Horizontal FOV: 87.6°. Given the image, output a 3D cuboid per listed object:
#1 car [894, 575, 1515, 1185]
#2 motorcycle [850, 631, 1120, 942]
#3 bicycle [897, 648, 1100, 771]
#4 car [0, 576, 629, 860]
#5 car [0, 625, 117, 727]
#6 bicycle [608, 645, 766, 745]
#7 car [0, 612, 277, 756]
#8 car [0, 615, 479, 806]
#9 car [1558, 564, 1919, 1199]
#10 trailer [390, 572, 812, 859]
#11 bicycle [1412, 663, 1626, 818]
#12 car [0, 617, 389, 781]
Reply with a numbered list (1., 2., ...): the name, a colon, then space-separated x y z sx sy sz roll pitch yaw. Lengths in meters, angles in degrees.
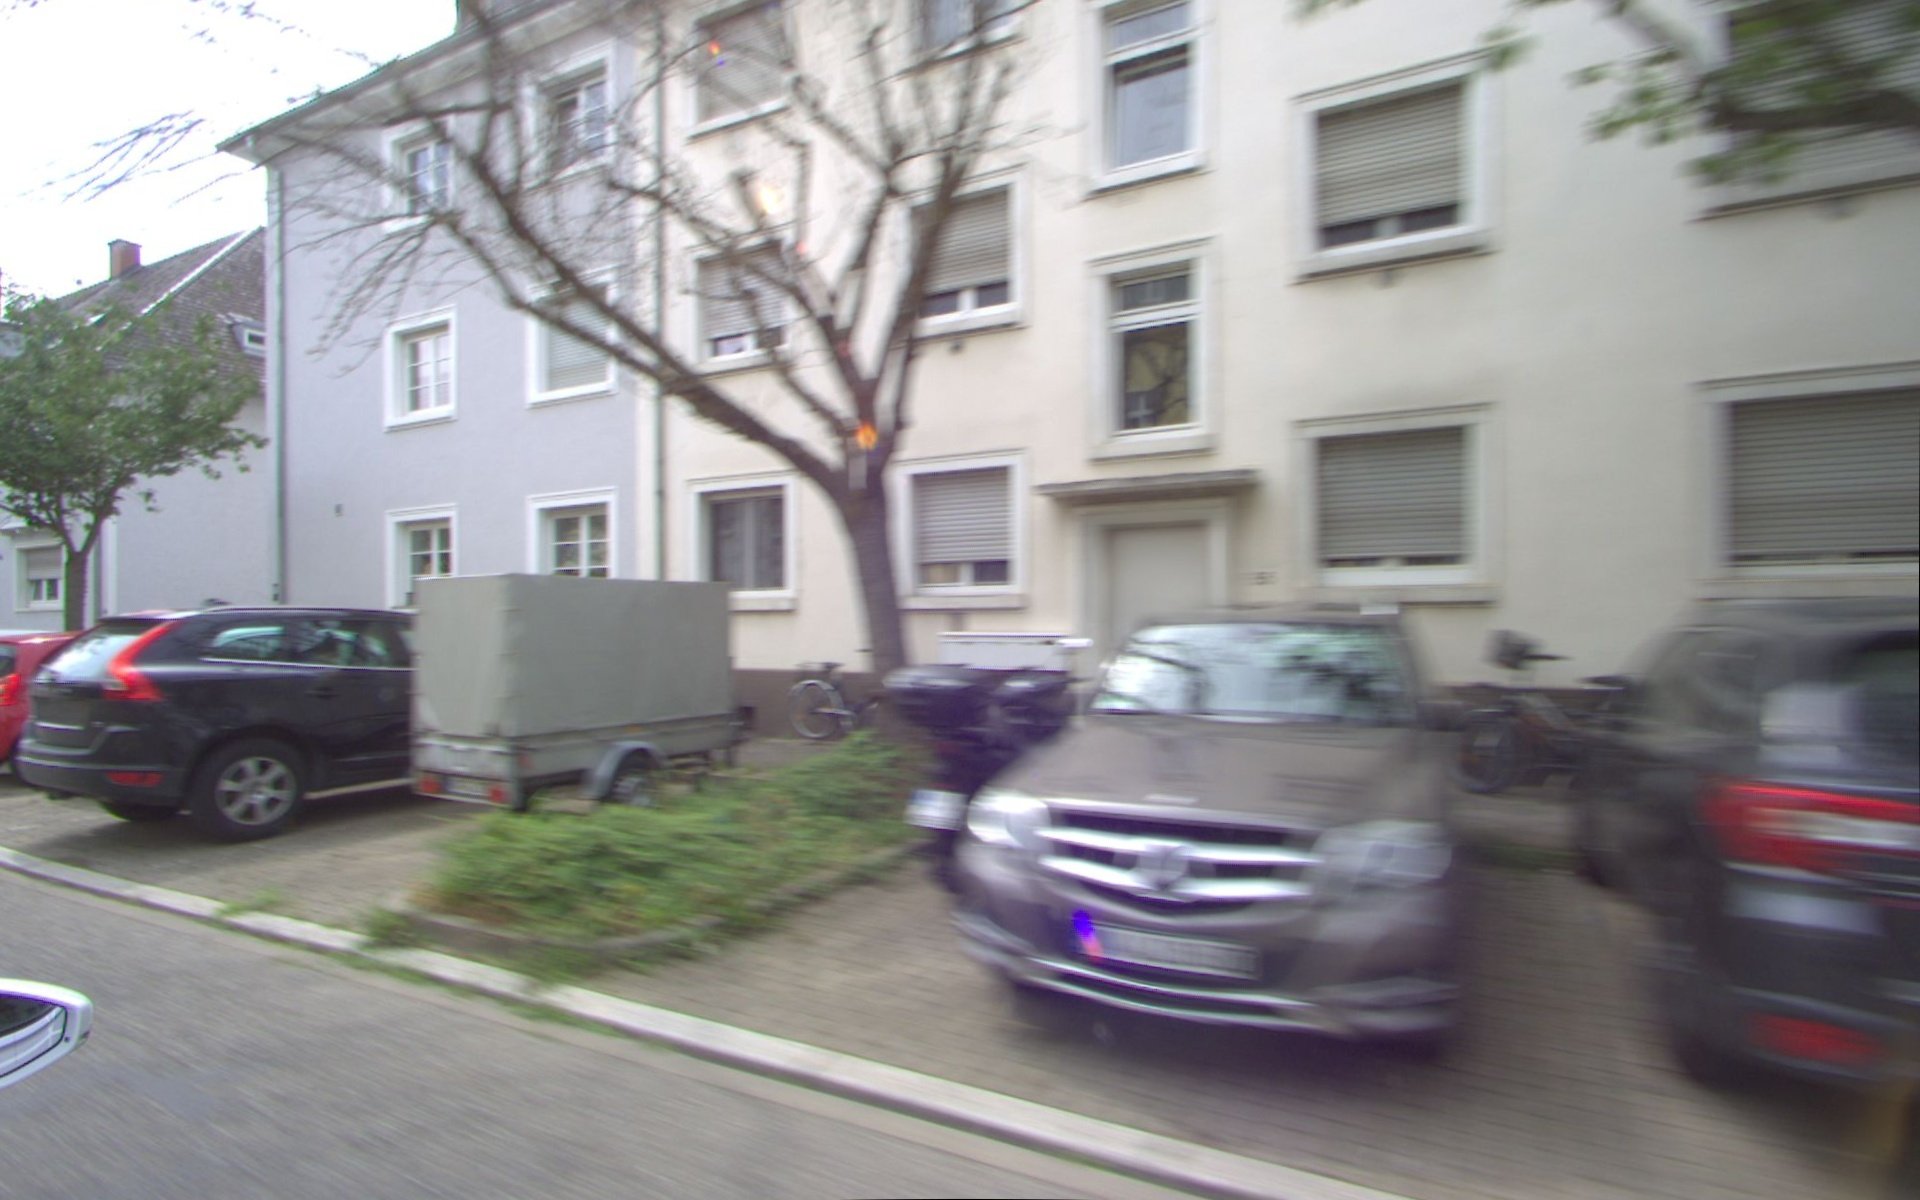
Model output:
1. car: 1.551 0.735 4.956 1.873 1.619 4.212 -1 0 26
2. motorcycle: 0.258 0.901 5.813 0.703 1.428 2.225 0 -1 26
3. bicycle: 0.375 1.070 10.237 1.976 1.112 0.685 -1 1 31
4. car: -5.131 0.718 8.492 1.876 1.759 4.207 -1 0 31
5. car: -15.341 1.183 15.147 1.781 1.472 3.539 -1 0 28
6. bicycle: -3.391 1.135 12.396 1.976 1.112 0.685 -1 1 31
7. car: -11.083 0.974 12.405 1.740 1.550 3.985 -1 0 26
8. car: -7.210 0.940 10.242 1.837 1.461 3.742 -1 0 29
9. car: 3.657 0.690 3.963 1.874 1.619 4.212 -1 0 26
10. trailer: -2.708 0.741 8.083 1.381 1.856 2.954 -1 1 32
11. bicycle: 4.467 1.086 8.053 1.451 1.095 0.502 -1 1 32
12. car: -8.978 0.971 11.414 1.740 1.429 3.985 -1 0 26
